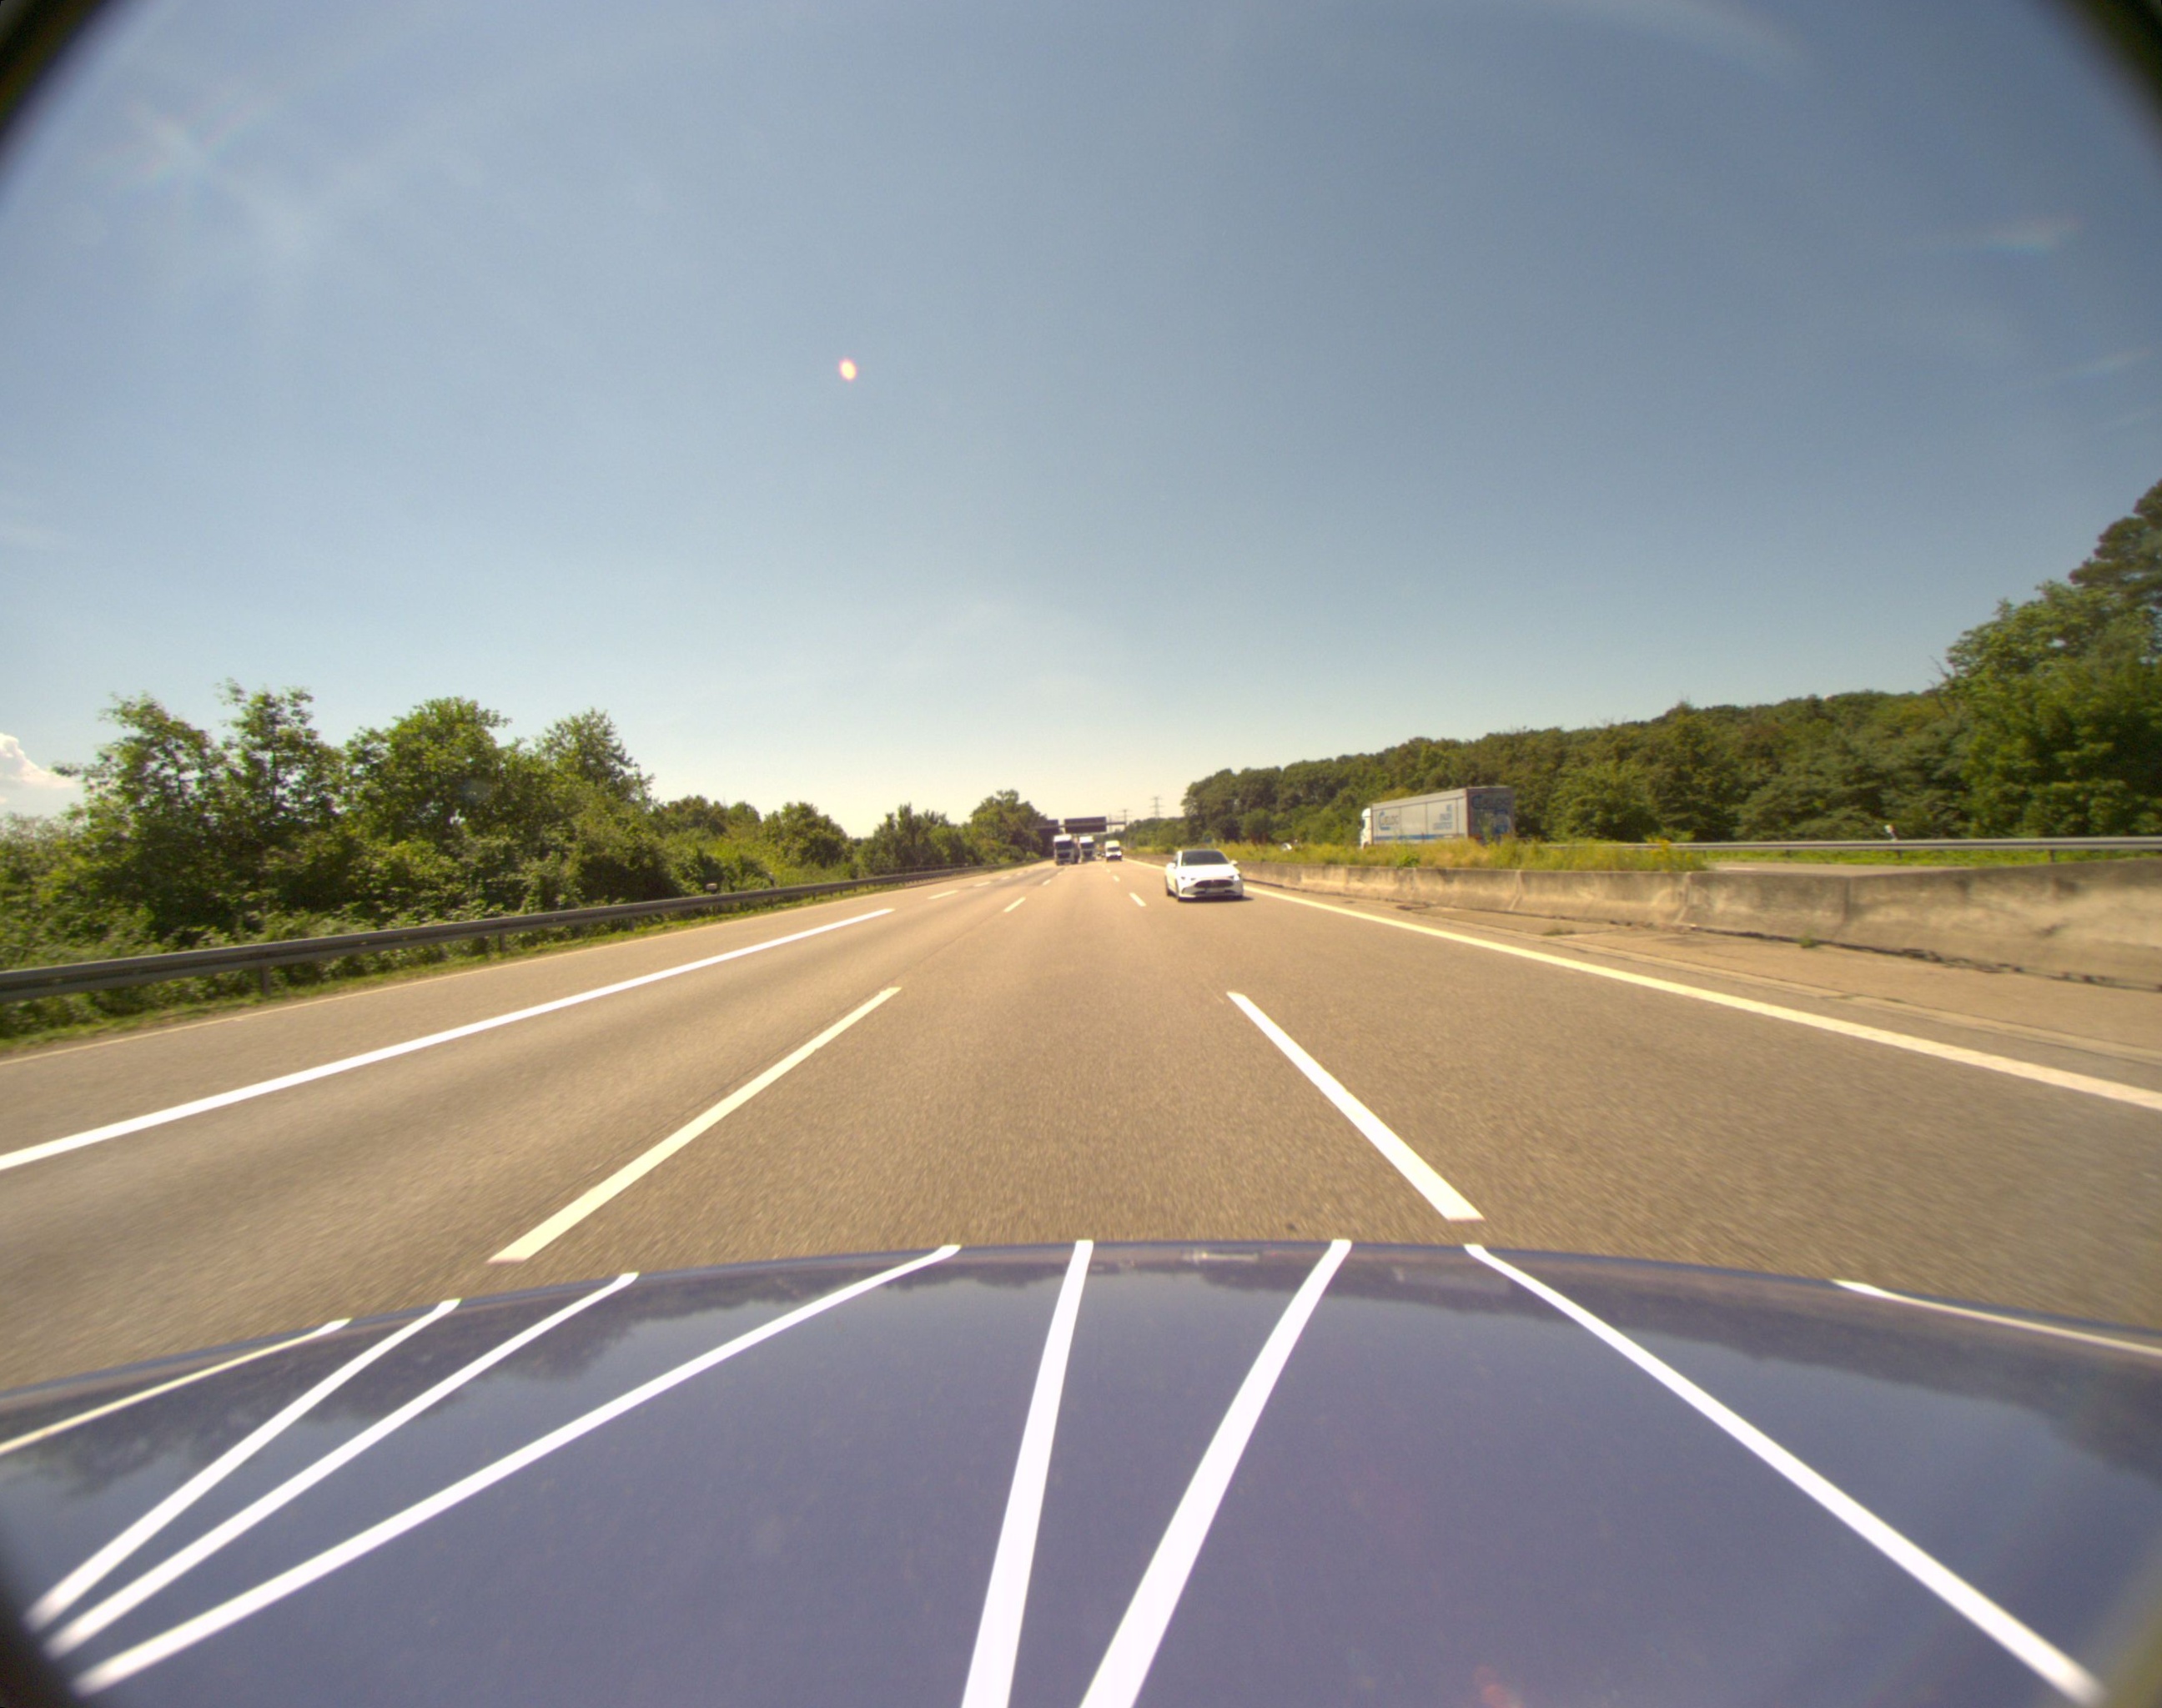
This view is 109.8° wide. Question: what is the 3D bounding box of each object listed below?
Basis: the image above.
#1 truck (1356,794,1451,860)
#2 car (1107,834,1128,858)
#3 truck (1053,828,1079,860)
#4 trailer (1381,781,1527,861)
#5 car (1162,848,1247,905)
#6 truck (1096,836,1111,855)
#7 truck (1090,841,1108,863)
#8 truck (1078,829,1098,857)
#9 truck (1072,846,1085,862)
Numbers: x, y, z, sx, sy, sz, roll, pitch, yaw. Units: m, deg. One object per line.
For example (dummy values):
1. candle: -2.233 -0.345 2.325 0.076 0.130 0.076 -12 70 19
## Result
1. truck: 21.994 -1.762 52.373 2.992 4.053 8.192 -3 0 1
2. car: 4.845 -1.056 102.140 2.521 2.857 6.399 -5 1 2
3. truck: -1.995 -1.427 105.502 2.990 4.187 7.592 -3 1 2
4. trailer: 21.835 -1.742 45.657 2.992 4.053 11.773 -3 0 1
5. car: 3.534 0.560 22.603 1.771 1.440 5.108 -2 1 1
6. truck: 5.728 -2.166 191.788 3.333 4.351 8.501 -5 1 2
7. truck: 3.747 -0.429 158.597 3.333 4.351 8.501 -5 1 2
8. truck: 1.255 -1.826 127.223 2.700 4.232 8.243 -5 1 2
9. truck: -0.622 -0.045 184.925 2.852 3.747 6.495 -5 1 1
